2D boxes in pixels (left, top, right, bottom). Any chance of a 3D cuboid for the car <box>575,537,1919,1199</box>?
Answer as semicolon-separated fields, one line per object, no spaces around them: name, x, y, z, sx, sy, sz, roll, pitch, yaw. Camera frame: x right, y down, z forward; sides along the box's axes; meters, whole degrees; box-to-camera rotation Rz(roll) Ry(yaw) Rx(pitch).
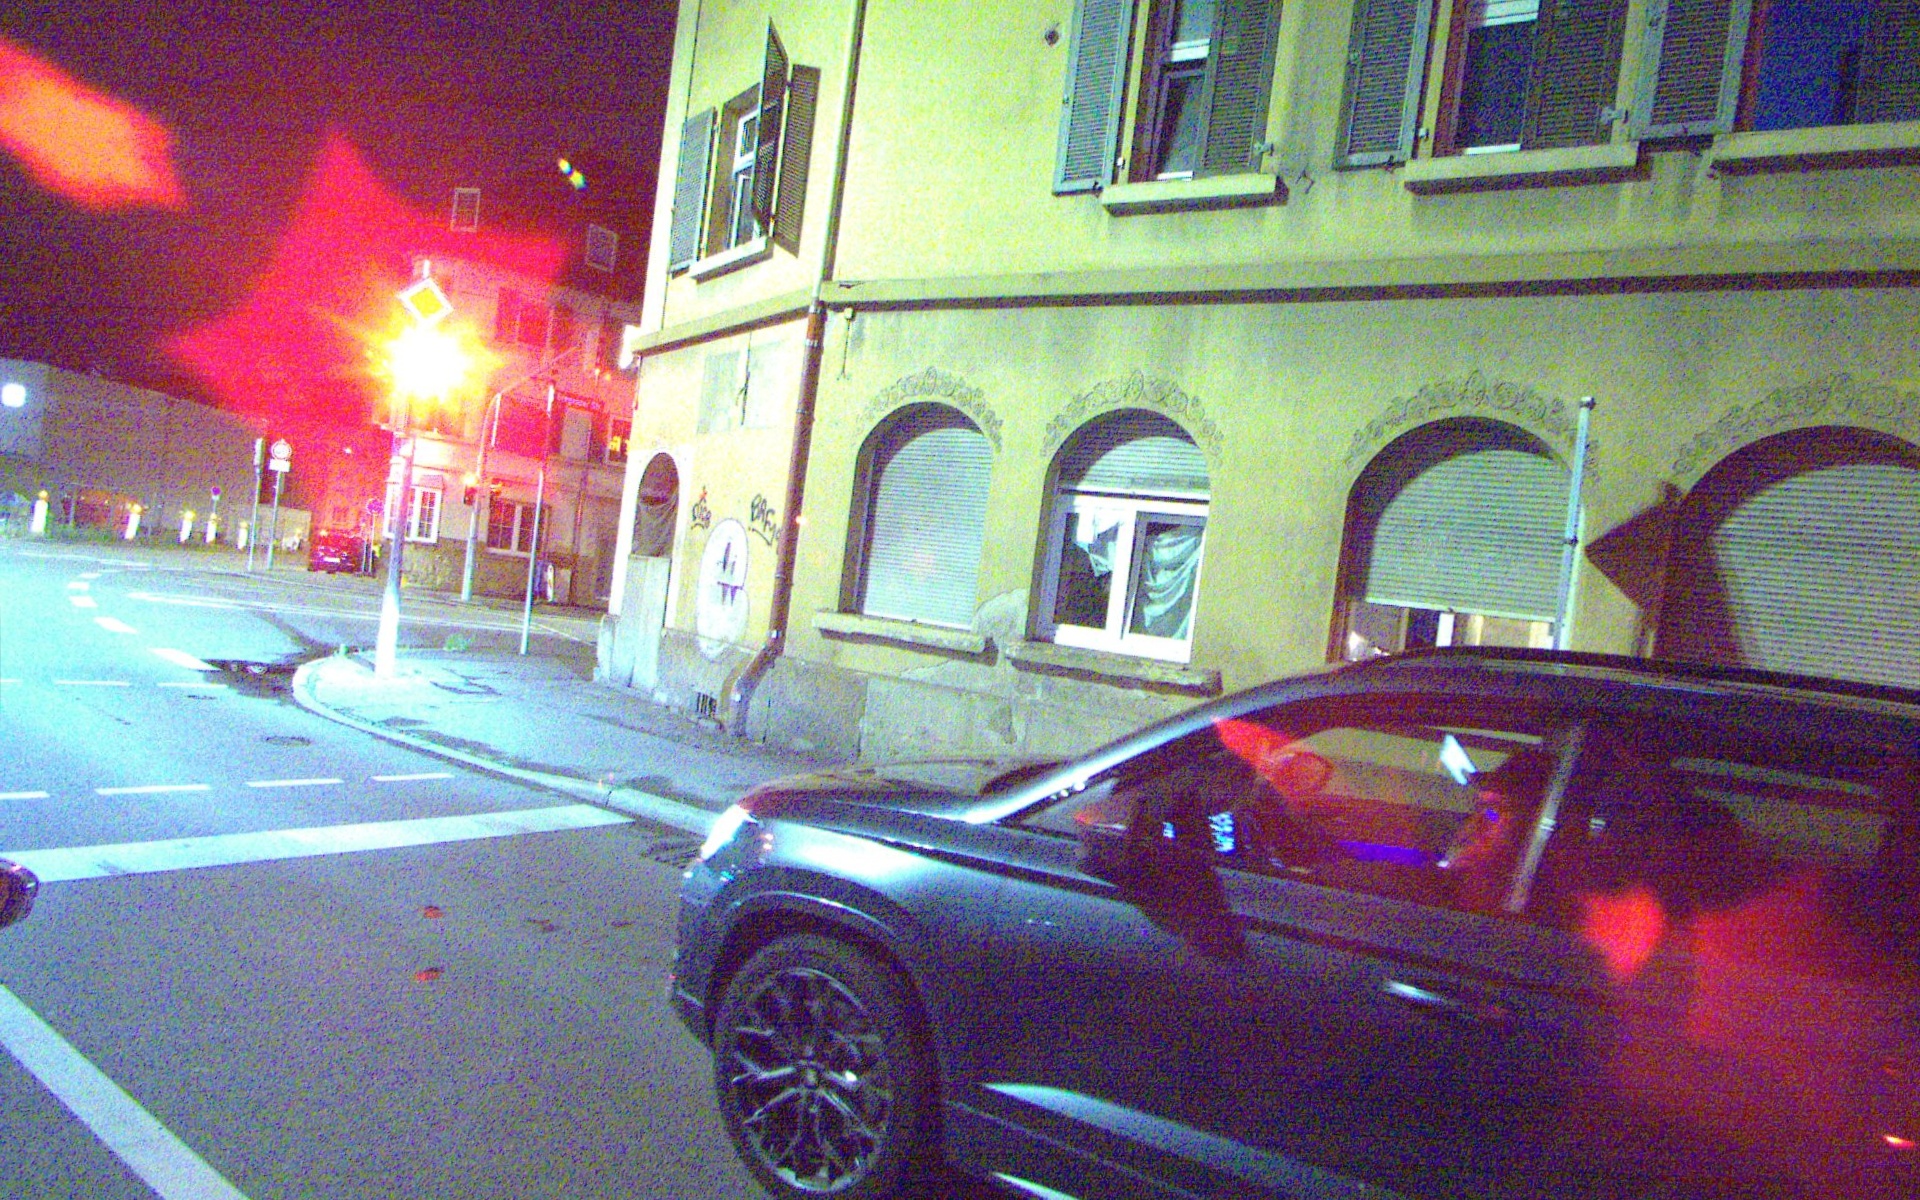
car;1.222;0.884;2.533;4.157;1.629;1.674;6;-1;29

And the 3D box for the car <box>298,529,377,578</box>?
car;-24.497;-1.776;39.709;1.708;1.631;3.610;7;-1;-19
